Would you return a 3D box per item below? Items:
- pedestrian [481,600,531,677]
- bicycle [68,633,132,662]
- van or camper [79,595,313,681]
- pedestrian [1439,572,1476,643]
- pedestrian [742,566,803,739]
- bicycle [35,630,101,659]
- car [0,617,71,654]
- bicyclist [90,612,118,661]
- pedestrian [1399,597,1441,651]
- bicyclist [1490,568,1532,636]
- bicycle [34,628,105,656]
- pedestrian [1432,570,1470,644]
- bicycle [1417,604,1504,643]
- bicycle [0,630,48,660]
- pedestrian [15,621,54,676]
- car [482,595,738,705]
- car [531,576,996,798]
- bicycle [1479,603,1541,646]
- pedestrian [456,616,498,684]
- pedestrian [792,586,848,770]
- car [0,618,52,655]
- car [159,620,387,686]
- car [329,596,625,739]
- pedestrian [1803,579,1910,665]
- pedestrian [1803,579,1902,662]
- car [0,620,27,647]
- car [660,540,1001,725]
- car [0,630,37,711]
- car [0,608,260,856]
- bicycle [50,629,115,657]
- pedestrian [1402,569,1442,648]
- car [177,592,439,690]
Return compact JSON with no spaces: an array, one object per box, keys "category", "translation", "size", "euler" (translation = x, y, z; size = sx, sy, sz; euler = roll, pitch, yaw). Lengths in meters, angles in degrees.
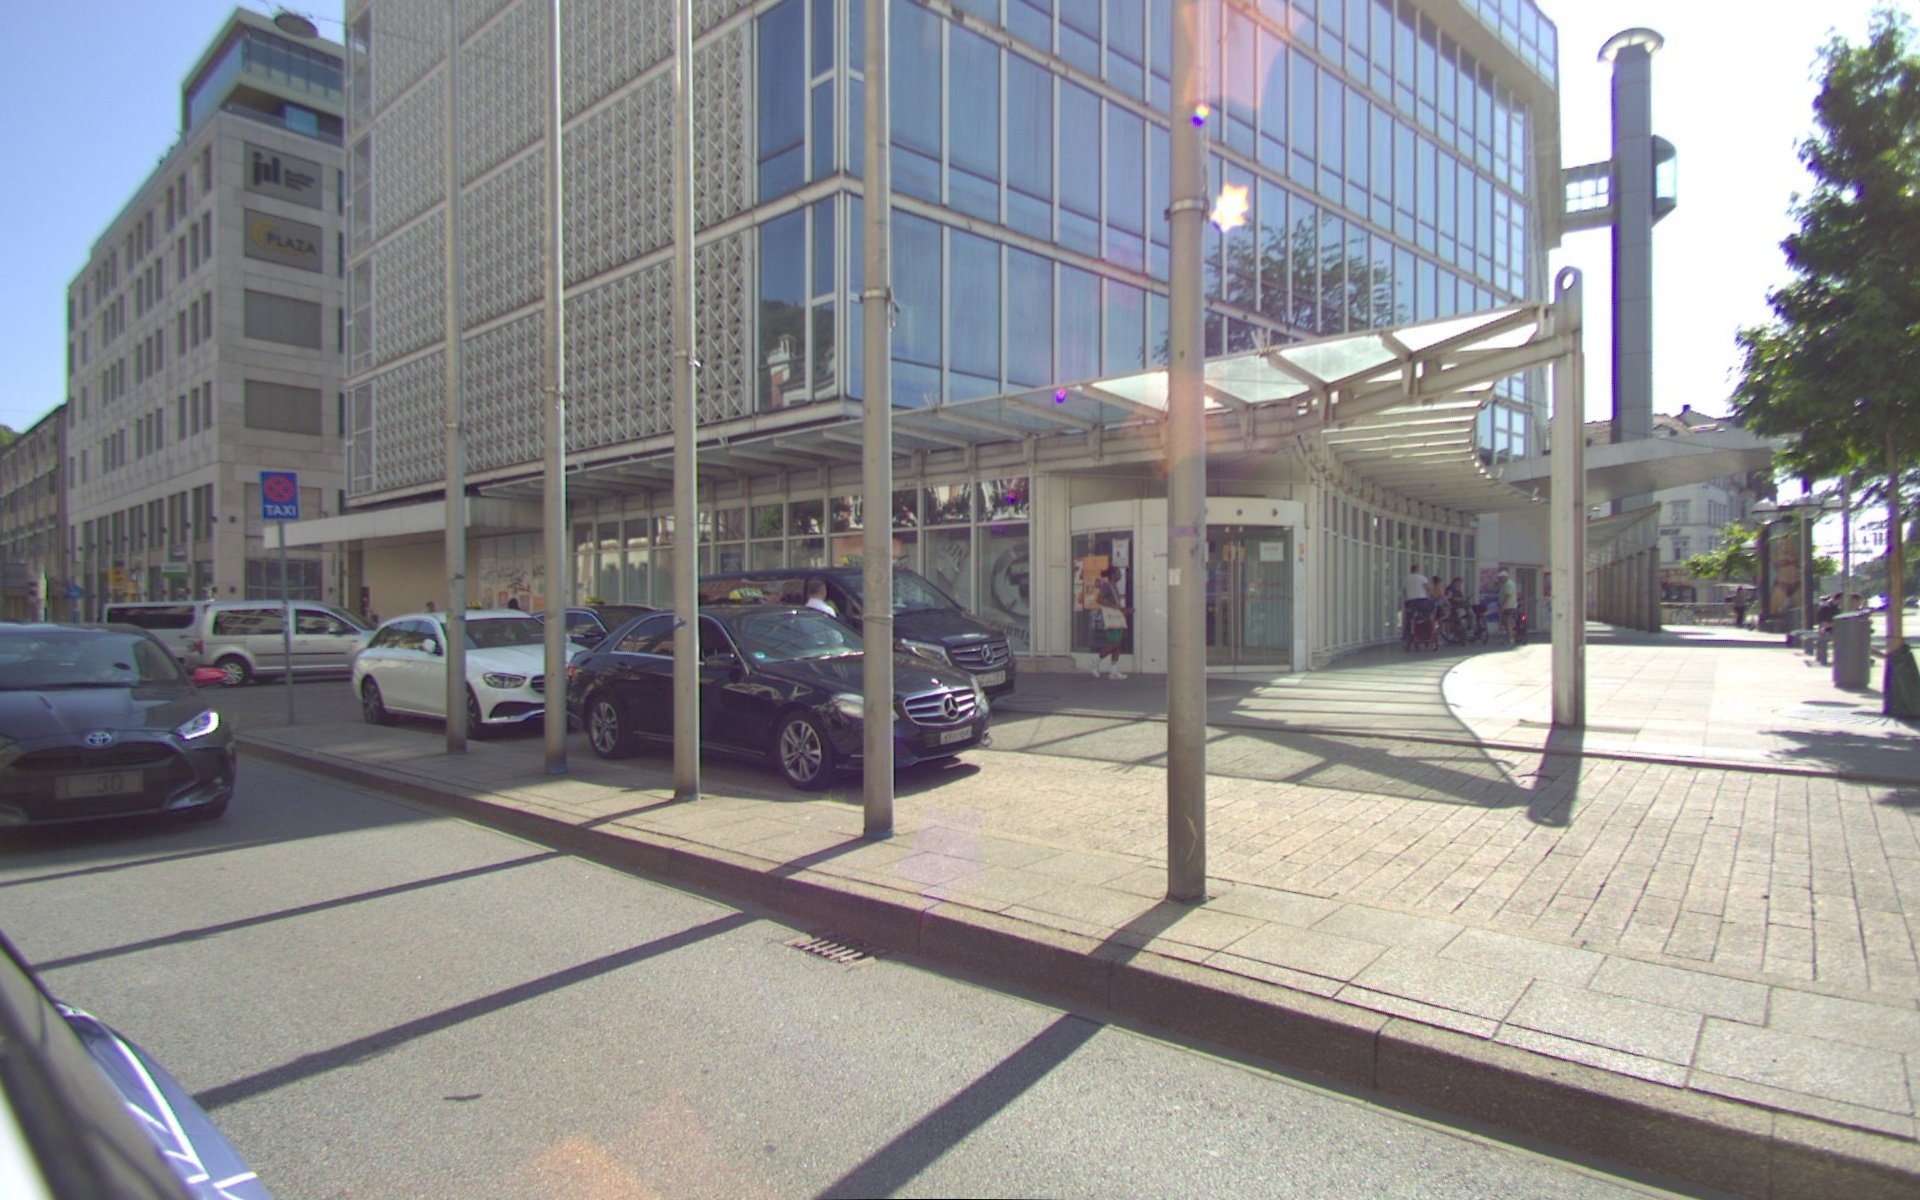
[{"category":"pedestrian","translation":[-10.370,0.863,23.143],"size":[0.640,1.673,0.780],"euler":[0,3,38]},{"category":"bicycle","translation":[-35.190,1.941,41.435],"size":[1.963,1.135,0.800],"euler":[0,-2,-42]},{"category":"van or camper","translation":[-20.403,0.972,27.234],"size":[4.585,2.029,2.004],"euler":[-2,0,-10]},{"category":"pedestrian","translation":[12.644,0.200,25.715],"size":[0.775,1.778,0.562],"euler":[-1,0,31]},{"category":"pedestrian","translation":[-2.032,0.549,10.990],"size":[0.610,1.806,0.694],"euler":[-1,-1,-10]},{"category":"bicycle","translation":[-37.483,1.860,42.523],"size":[2.030,1.178,0.607],"euler":[0,-1,-12]},{"category":"car","translation":[-45.753,1.750,48.774],"size":[3.965,1.614,1.965],"euler":[-2,2,-26]},{"category":"bicyclist","translation":[-35.084,1.479,41.462],"size":[0.832,1.975,1.018],"euler":[0,-1,-43]},{"category":"pedestrian","translation":[9.997,0.515,21.999],"size":[0.651,1.155,0.768],"euler":[-1,0,38]},{"category":"bicyclist","translation":[13.404,0.038,24.620],"size":[0.835,1.622,0.651],"euler":[-1,0,-45]},{"category":"bicycle","translation":[-39.871,1.879,45.341],"size":[2.289,1.135,0.564],"euler":[-2,1,-25]},{"category":"pedestrian","translation":[11.985,0.172,24.699],"size":[0.651,1.778,0.768],"euler":[-1,0,38]},{"category":"bicycle","translation":[12.690,0.598,25.689],"size":[1.930,0.973,0.568],"euler":[-1,0,31]},{"category":"bicycle","translation":[-38.862,1.866,41.626],"size":[2.033,1.182,0.606],"euler":[-1,0,-4]},{"category":"pedestrian","translation":[-26.985,1.411,29.499],"size":[0.678,1.571,0.635],"euler":[-2,0,29]},{"category":"car","translation":[-5.999,0.767,17.153],"size":[4.392,1.622,1.975],"euler":[-1,0,37]},{"category":"car","translation":[-2.052,0.675,9.554],"size":[4.706,1.612,1.743],"euler":[-1,-1,40]},{"category":"bicycle","translation":[13.388,0.569,24.583],"size":[2.399,0.973,0.652],"euler":[-1,0,-45]},{"category":"pedestrian","translation":[-10.790,1.104,22.616],"size":[0.640,1.447,0.587],"euler":[0,3,38]},{"category":"pedestrian","translation":[-1.429,0.770,10.267],"size":[0.524,1.806,0.540],"euler":[-1,-1,-10]},{"category":"car","translation":[-48.473,1.908,50.831],"size":[4.107,1.649,2.105],"euler":[-5,3,-41]},{"category":"car","translation":[-16.735,1.250,24.901],"size":[4.225,1.296,1.977],"euler":[-2,1,-18]},{"category":"car","translation":[-6.477,0.795,13.294],"size":[4.736,1.534,1.780],"euler":[-2,0,41]},{"category":"pedestrian","translation":[15.132,0.359,17.121],"size":[1.309,1.396,0.845],"euler":[-1,0,41]},{"category":"pedestrian","translation":[15.663,0.345,17.795],"size":[1.259,1.396,0.845],"euler":[-1,0,41]},{"category":"car","translation":[-58.827,2.166,60.255],"size":[4.425,1.443,1.869],"euler":[-6,3,-30]},{"category":"car","translation":[-1.859,0.397,13.359],"size":[4.683,2.029,1.813],"euler":[-1,-1,41]},{"category":"car","translation":[-18.939,1.313,19.313],"size":[4.108,1.407,1.710],"euler":[-1,-1,44]},{"category":"car","translation":[-7.037,0.881,7.800],"size":[4.106,1.489,1.843],"euler":[-3,-4,43]},{"category":"bicycle","translation":[-37.926,1.834,43.763],"size":[2.028,1.135,0.649],"euler":[-1,-1,-23]},{"category":"pedestrian","translation":[10.734,0.197,23.498],"size":[0.651,1.778,0.768],"euler":[-1,0,38]},{"category":"car","translation":[-14.061,0.849,22.110],"size":[4.372,1.924,2.014],"euler":[-1,-1,-12]}]
